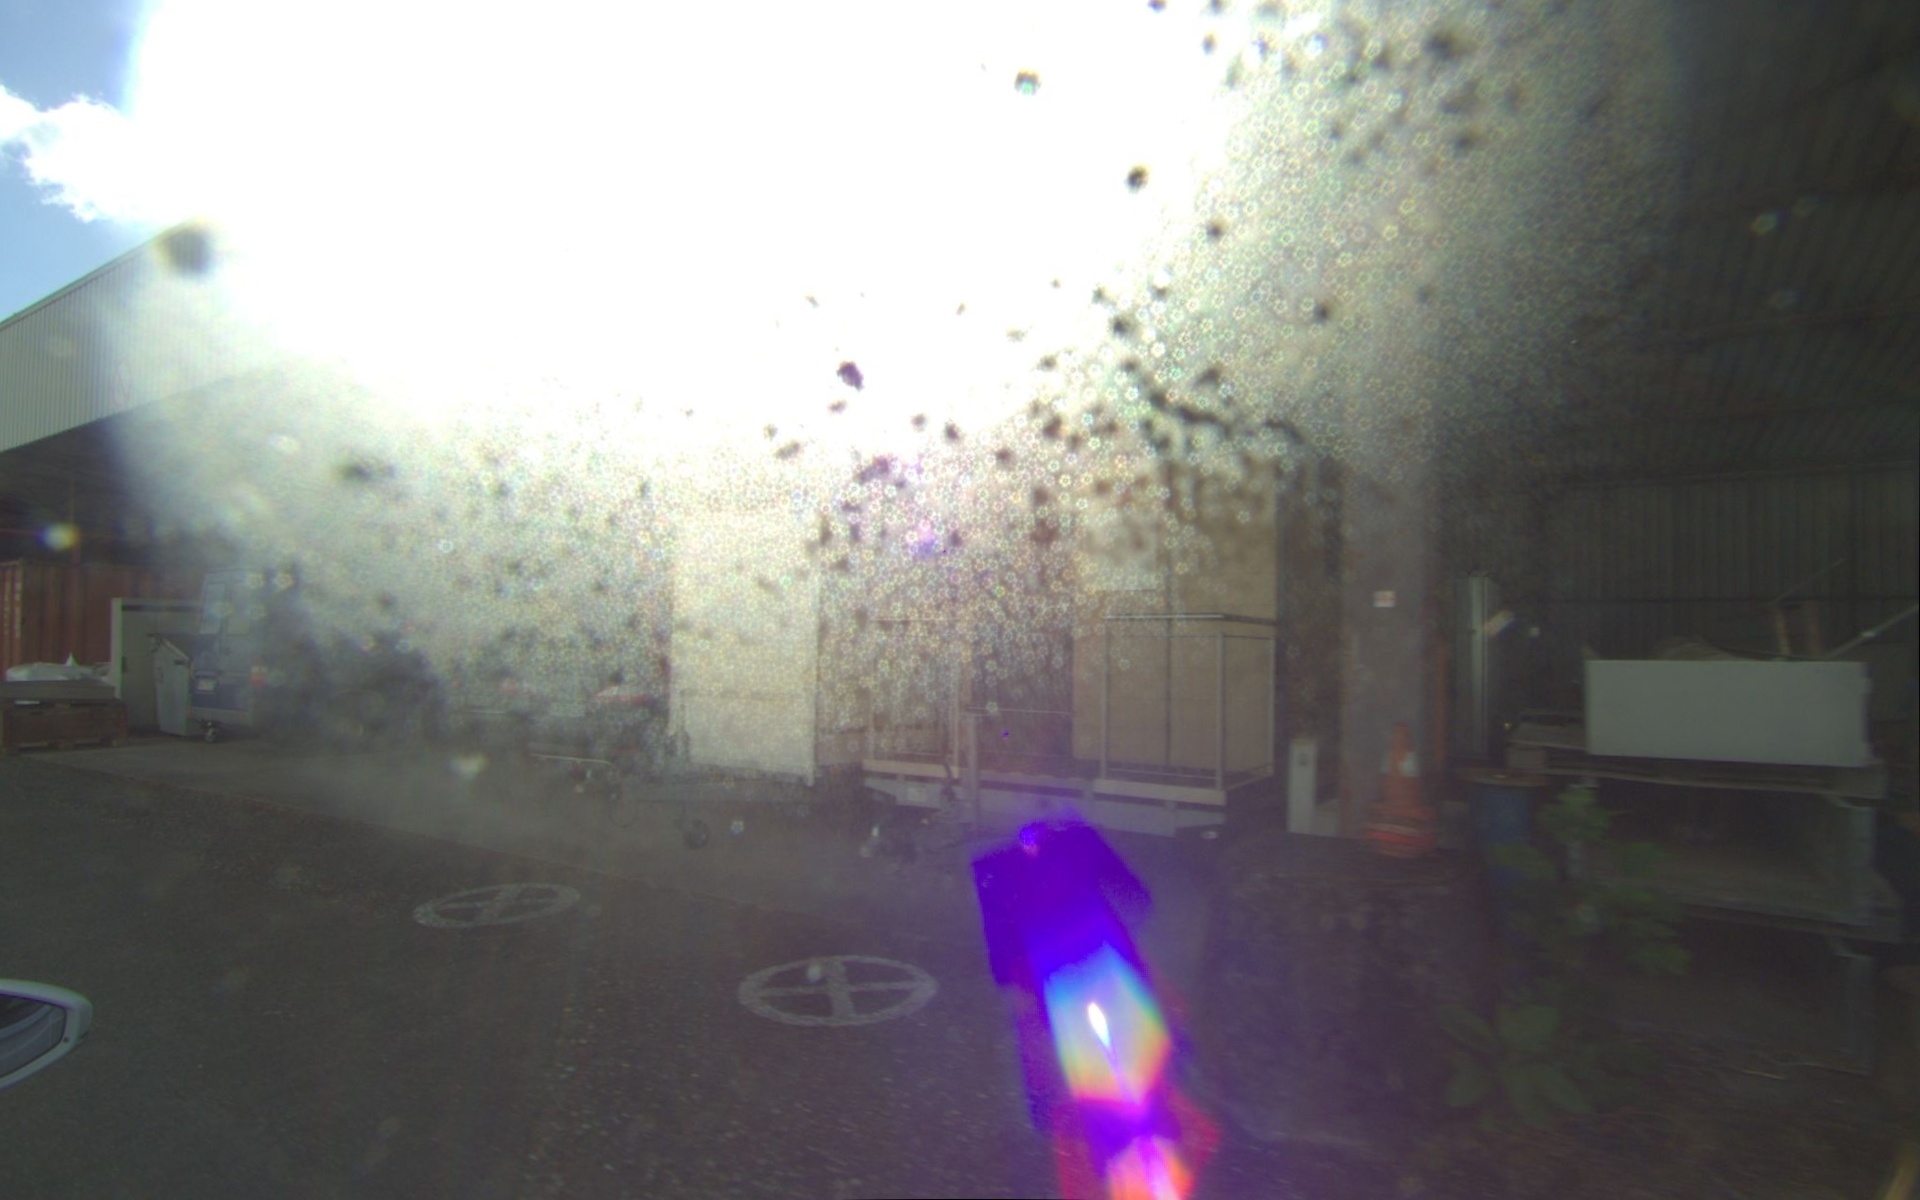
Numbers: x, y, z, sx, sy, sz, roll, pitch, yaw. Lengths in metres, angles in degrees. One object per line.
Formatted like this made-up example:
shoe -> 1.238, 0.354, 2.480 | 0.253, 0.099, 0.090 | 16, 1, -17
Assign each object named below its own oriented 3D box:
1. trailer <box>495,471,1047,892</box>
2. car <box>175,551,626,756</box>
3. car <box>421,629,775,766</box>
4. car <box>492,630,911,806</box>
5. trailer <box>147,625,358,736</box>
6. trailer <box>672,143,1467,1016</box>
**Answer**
trailer -> -1.110, 0.529, 7.999 | 1.665, 2.365, 4.532 | 0, -2, 33
car -> -7.537, 0.743, 14.160 | 2.054, 2.326, 5.209 | -1, -3, 32
car -> -4.500, 1.129, 13.057 | 1.824, 1.472, 4.100 | -1, -2, 32
car -> -2.452, 1.057, 10.660 | 1.837, 1.452, 4.340 | -1, -2, 29
trailer -> -10.288, 1.136, 14.616 | 1.620, 1.480, 2.089 | -2, -3, 36
trailer -> 2.386, 0.076, 8.864 | 2.638, 3.337, 10.272 | 0, -2, 33
